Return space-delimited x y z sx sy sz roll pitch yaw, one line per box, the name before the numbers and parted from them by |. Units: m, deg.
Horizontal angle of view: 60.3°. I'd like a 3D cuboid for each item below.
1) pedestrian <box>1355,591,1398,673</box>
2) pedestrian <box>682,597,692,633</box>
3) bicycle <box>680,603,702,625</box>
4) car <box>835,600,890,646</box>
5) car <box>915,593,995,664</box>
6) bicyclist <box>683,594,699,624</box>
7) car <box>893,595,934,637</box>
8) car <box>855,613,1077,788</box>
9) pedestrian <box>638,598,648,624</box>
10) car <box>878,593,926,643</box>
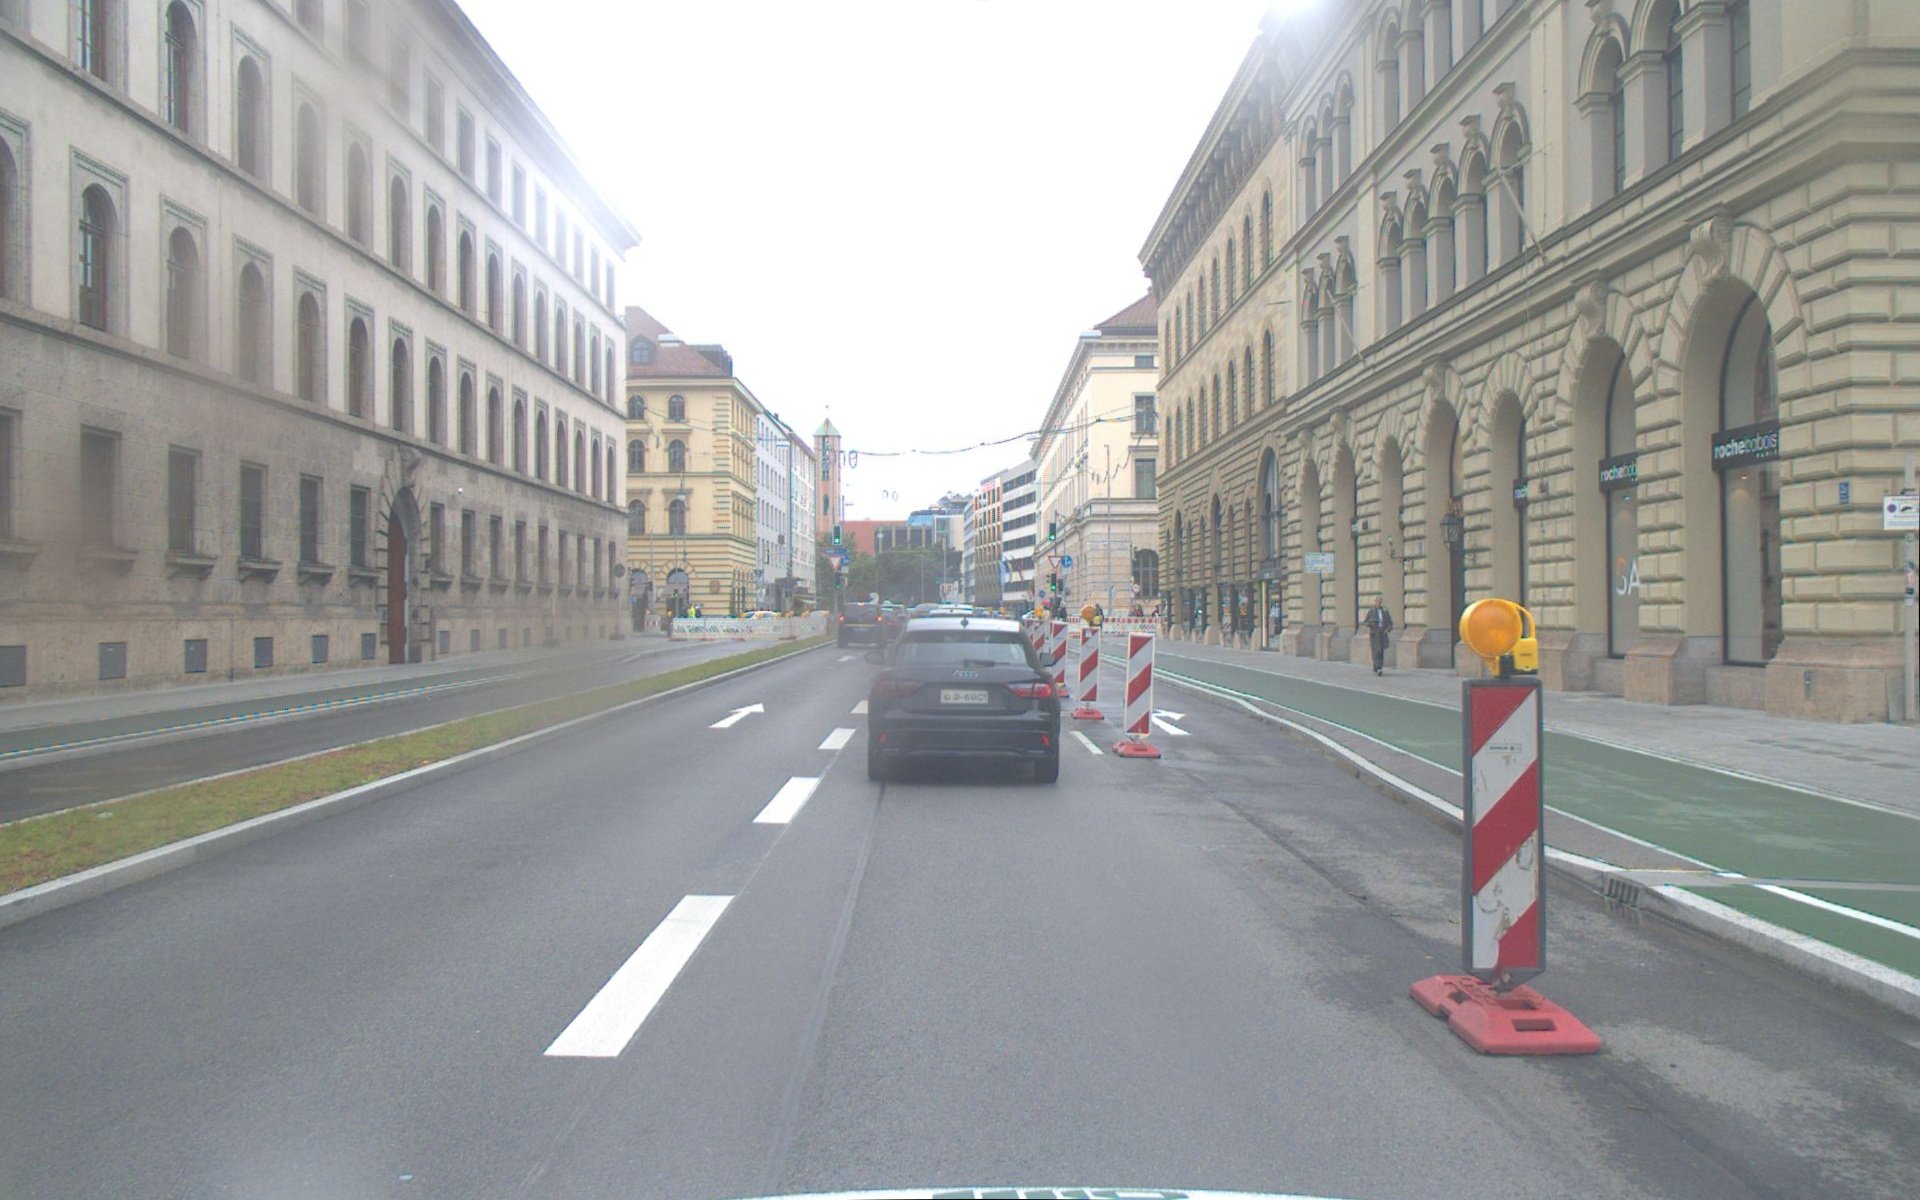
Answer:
pedestrian | 9.033 0.690 35.897 0.619 1.734 1.085 -1 0 -1
pedestrian | -13.719 0.749 83.158 0.503 1.773 1.041 0 0 -10
bicycle | -15.939 0.822 98.091 0.770 1.264 2.450 1 0 4
car | -3.515 0.818 60.252 1.827 1.629 3.850 0 0 -1
car | -0.171 0.683 40.787 1.734 1.645 3.997 1 0 -4
bicyclist | -15.934 0.549 98.075 0.781 1.779 0.689 1 -1 3
car | -2.279 0.783 82.206 1.953 2.049 4.000 -1 0 0
car | 0.032 0.853 15.716 1.825 1.412 3.999 1 0 -1
pedestrian | -22.400 0.781 116.881 0.720 1.803 0.737 1 -1 -11
car | -2.431 0.764 70.274 1.953 2.049 3.999 0 0 -1
